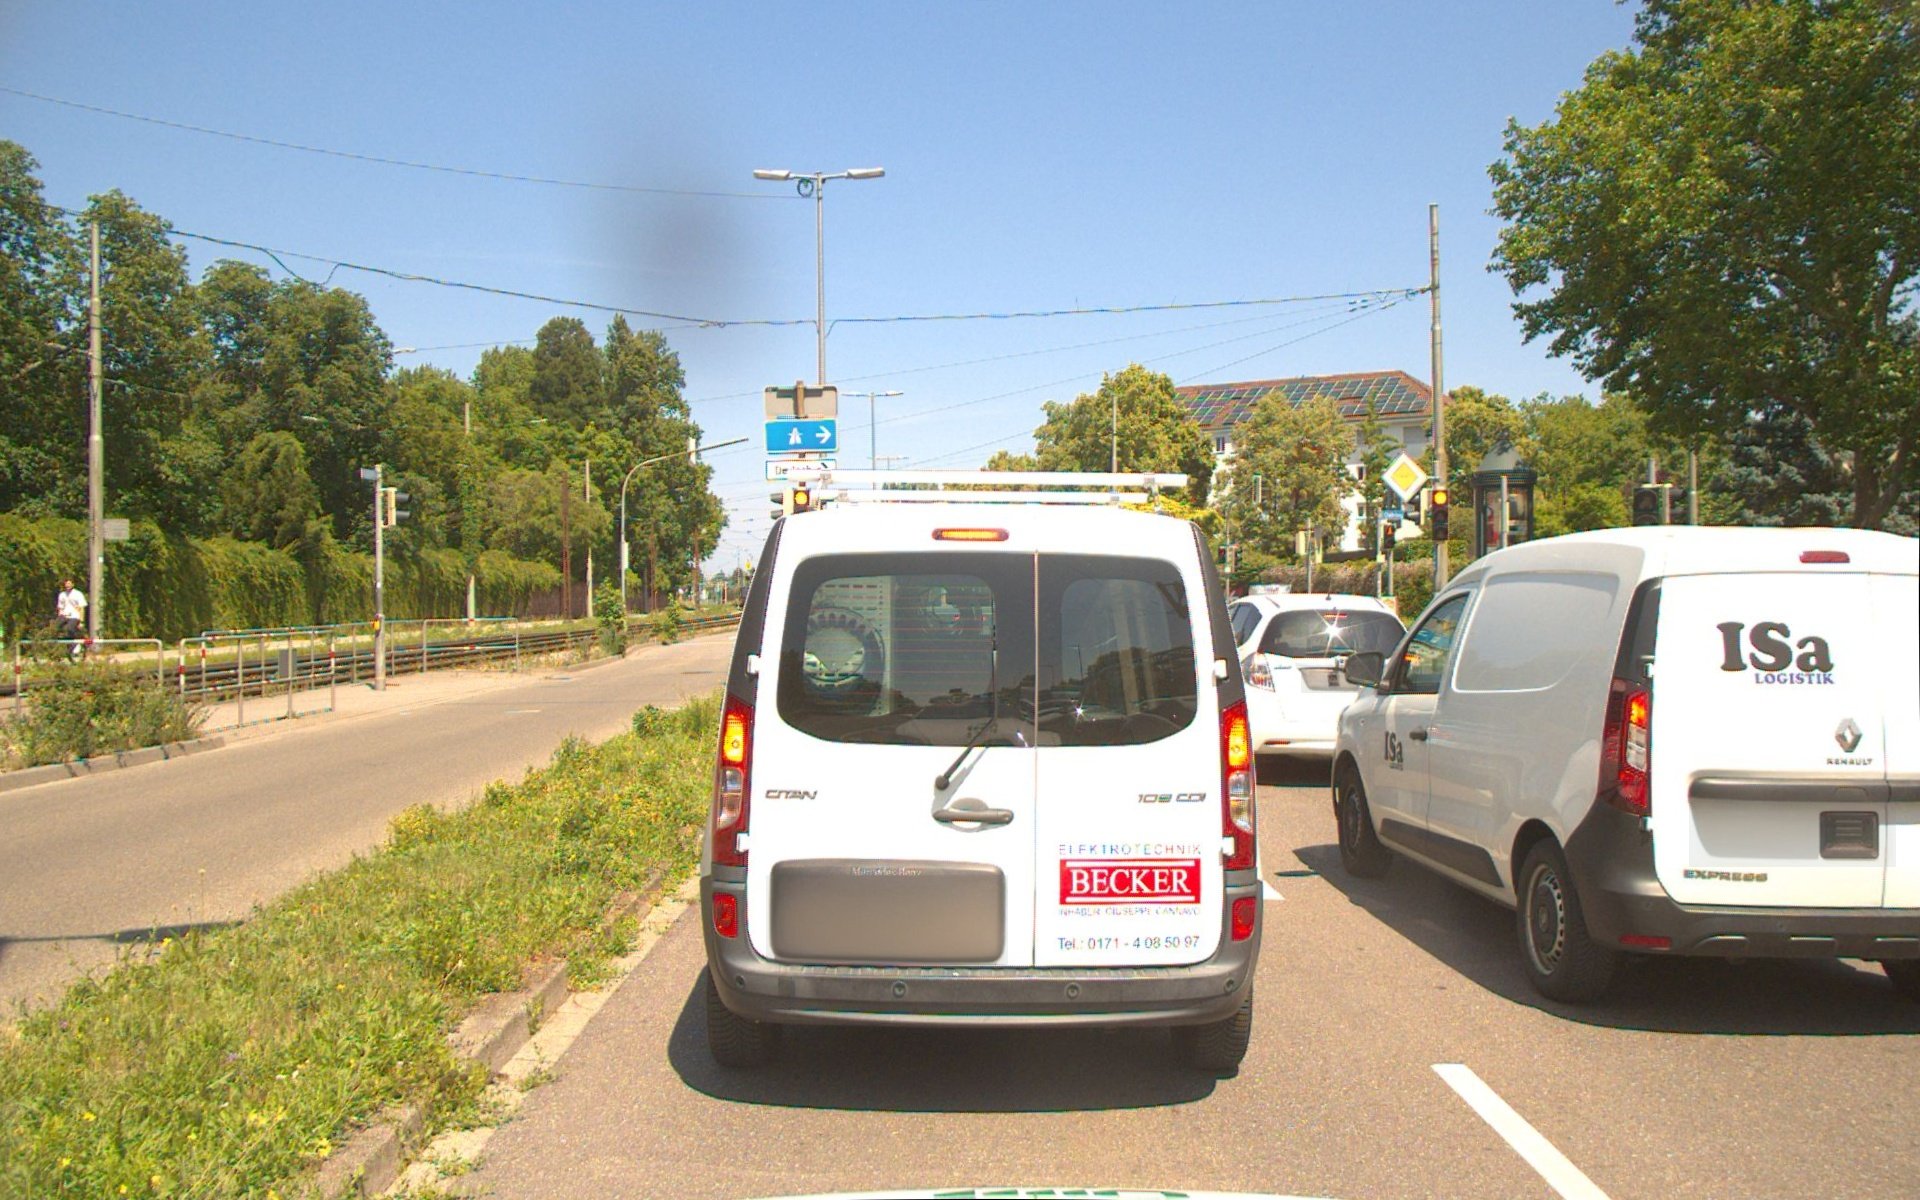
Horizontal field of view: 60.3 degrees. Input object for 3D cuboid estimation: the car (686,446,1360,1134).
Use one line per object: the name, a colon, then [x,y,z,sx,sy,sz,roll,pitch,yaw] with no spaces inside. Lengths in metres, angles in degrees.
car: [0.139,0.522,6.468,1.829,1.868,3.848,1,0,-1]

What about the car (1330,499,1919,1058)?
car: [3.043,0.583,7.554,1.676,1.862,4.012,0,0,-2]

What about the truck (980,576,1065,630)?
truck: [2.432,0.116,66.256,2.256,2.049,6.715,0,0,-8]

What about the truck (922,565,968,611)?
truck: [-1.322,-1.002,137.818,3.504,3.696,8.804,0,0,-3]

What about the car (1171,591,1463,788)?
car: [3.054,0.695,14.963,1.720,1.512,3.999,1,0,-1]

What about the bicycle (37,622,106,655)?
bicycle: [-19.133,0.818,35.663,0.549,0.659,1.720,0,0,0]

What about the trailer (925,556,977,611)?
trailer: [-0.746,-1.231,128.933,3.458,4.121,8.969,0,0,-4]

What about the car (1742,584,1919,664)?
car: [18.583,0.457,33.471,4.581,1.552,2.001,0,0,4]

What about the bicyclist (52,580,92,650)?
bicyclist: [-19.137,0.316,35.638,0.546,1.504,0.561,0,0,0]
